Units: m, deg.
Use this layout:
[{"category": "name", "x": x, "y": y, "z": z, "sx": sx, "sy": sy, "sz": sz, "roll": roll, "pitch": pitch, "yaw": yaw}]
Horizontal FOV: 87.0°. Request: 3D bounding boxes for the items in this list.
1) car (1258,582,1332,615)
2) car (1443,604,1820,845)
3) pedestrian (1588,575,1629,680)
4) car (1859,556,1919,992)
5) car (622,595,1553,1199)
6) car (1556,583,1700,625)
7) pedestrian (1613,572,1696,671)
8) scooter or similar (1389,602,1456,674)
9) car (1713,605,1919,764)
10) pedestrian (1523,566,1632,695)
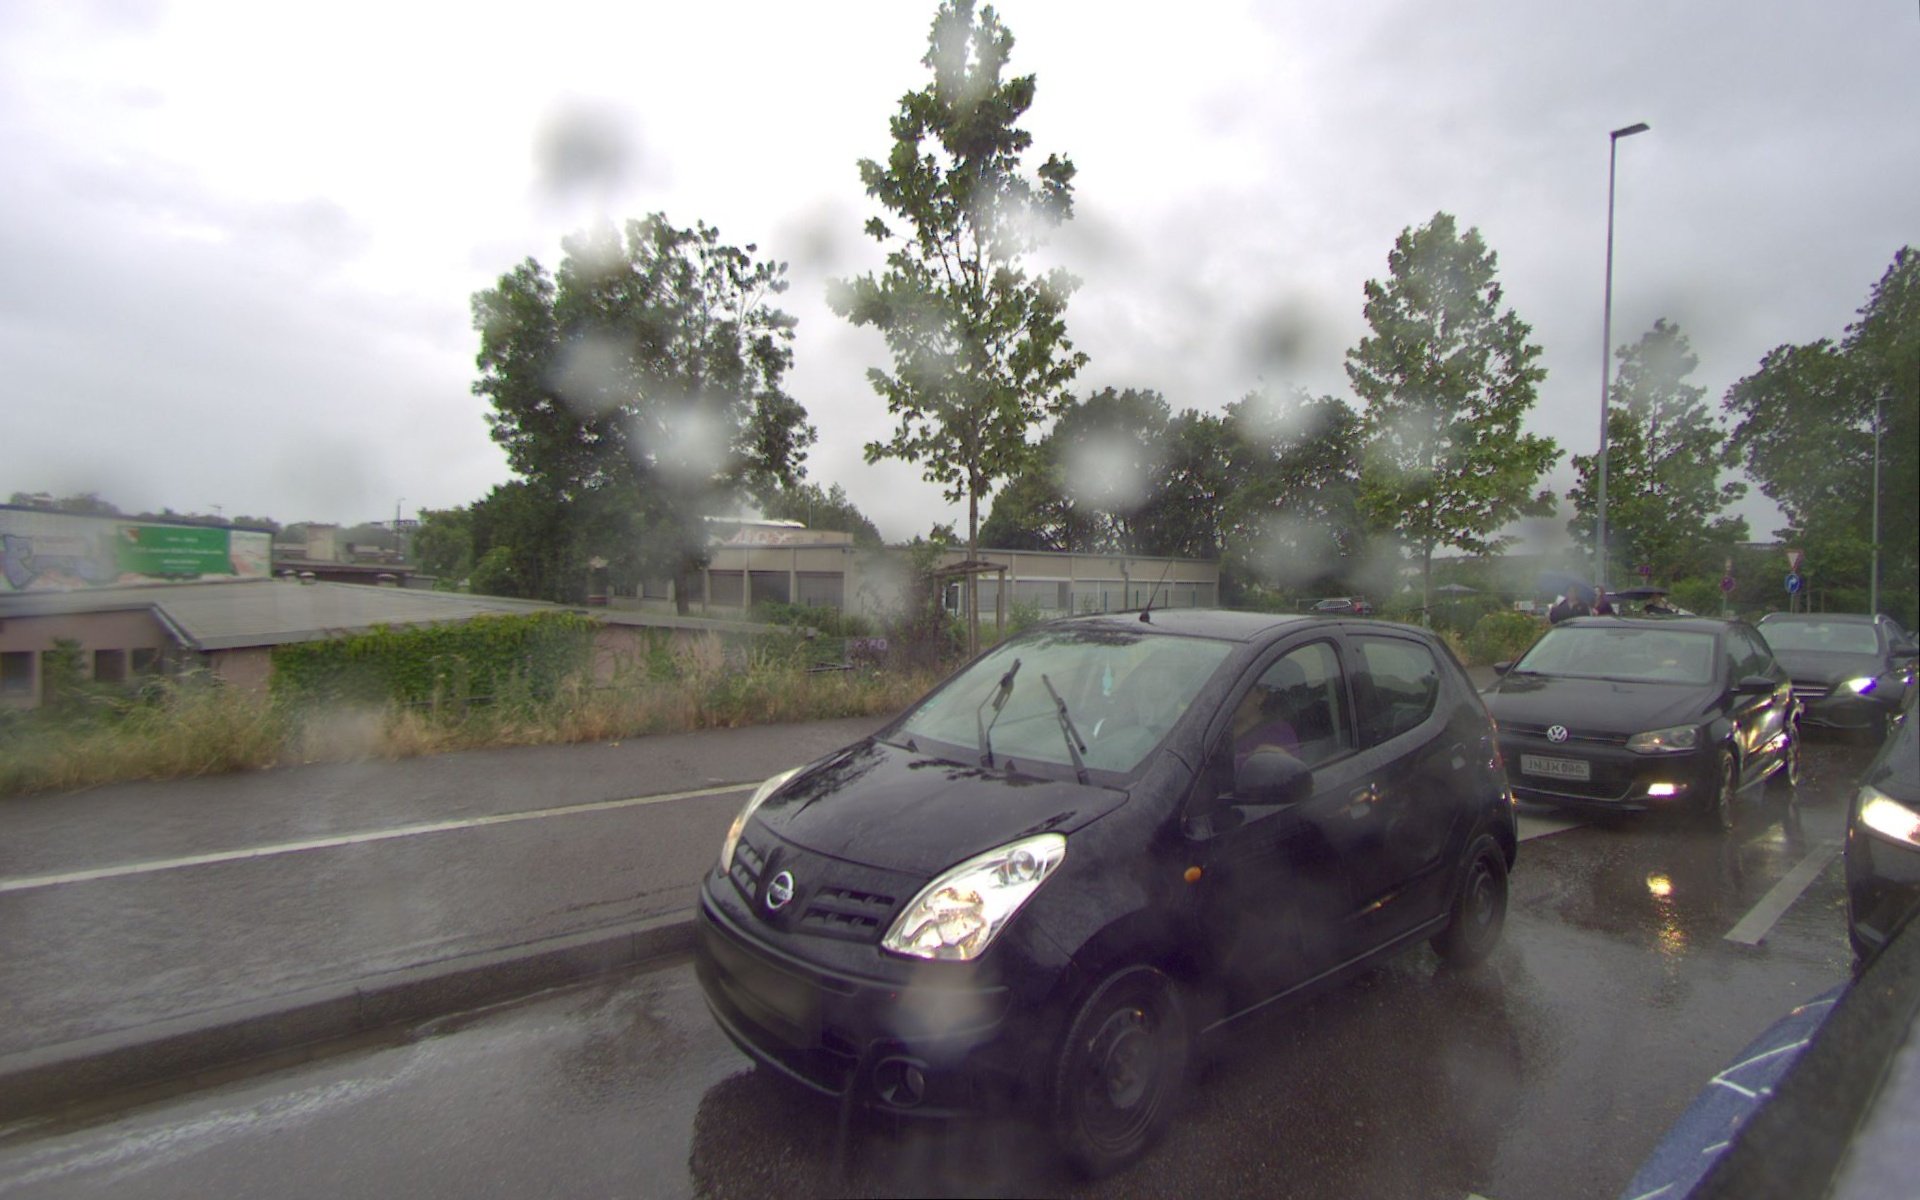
[{"category": "car", "x": 20.995, "y": -0.101, "z": 63.471, "sx": 1.964, "sy": 2.039, "sz": 3.996, "roll": 0, "pitch": 0, "yaw": -38}, {"category": "car", "x": 5.370, "y": 0.763, "z": 7.936, "sx": 3.561, "sy": 1.447, "sz": 1.631, "roll": 0, "pitch": 0, "yaw": -42}, {"category": "pedestrian", "x": 10.596, "y": 0.436, "z": 16.543, "sx": 0.433, "sy": 1.682, "sz": 0.400, "roll": 0, "pitch": 3, "yaw": -42}, {"category": "car", "x": 5.518, "y": 0.625, "z": 4.555, "sx": 4.091, "sy": 1.607, "sz": 1.688, "roll": -1, "pitch": 0, "yaw": -41}, {"category": "car", "x": 0.758, "y": 0.719, "z": 3.890, "sx": 3.561, "sy": 1.447, "sz": 1.631, "roll": 0, "pitch": 0, "yaw": -42}, {"category": "car", "x": 28.054, "y": 0.134, "z": 42.640, "sx": 1.966, "sy": 1.670, "sz": 4.752, "roll": -1, "pitch": 1, "yaw": -42}, {"category": "pedestrian", "x": 12.849, "y": 0.377, "z": 18.737, "sx": 0.876, "sy": 1.729, "sz": 1.024, "roll": 0, "pitch": 3, "yaw": -41}, {"category": "scooter or similar", "x": 7.894, "y": 0.617, "z": 17.243, "sx": 1.747, "sy": 1.144, "sz": 0.380, "roll": -1, "pitch": 2, "yaw": -43}, {"category": "car", "x": 10.747, "y": 0.883, "z": 12.378, "sx": 3.747, "sy": 1.594, "sz": 1.697, "roll": -1, "pitch": 0, "yaw": -41}, {"category": "pedestrian", "x": 9.020, "y": 0.410, "z": 14.793, "sx": 0.953, "sy": 1.777, "sz": 1.081, "roll": 0, "pitch": 3, "yaw": -42}]
